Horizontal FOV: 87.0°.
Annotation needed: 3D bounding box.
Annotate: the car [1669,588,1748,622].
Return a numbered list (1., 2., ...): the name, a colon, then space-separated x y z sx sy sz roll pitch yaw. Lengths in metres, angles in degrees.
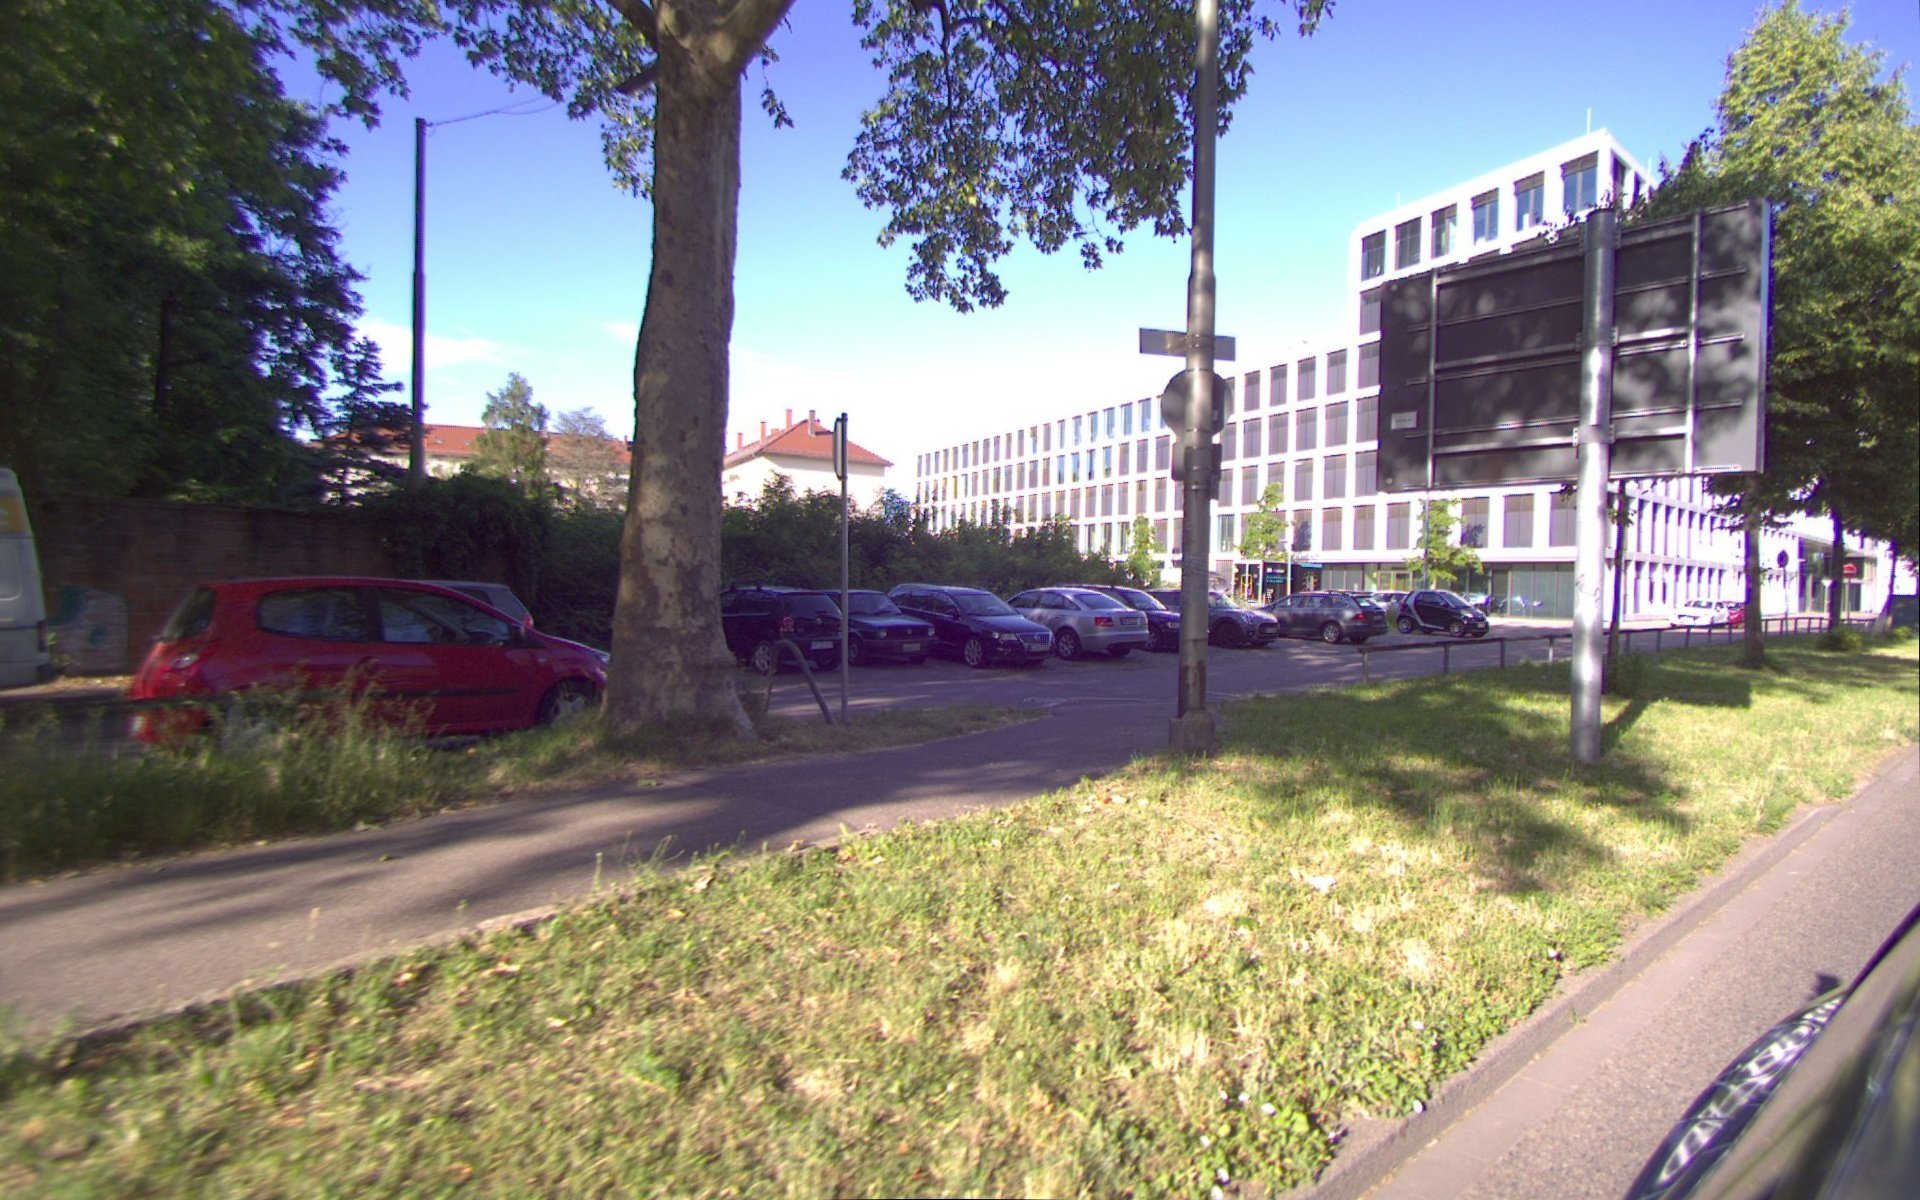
1. car: 37.386 0.218 50.521 4.322 1.504 2.000 -1 4 -38

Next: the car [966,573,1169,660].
1. car: 2.282 0.293 22.623 1.963 1.427 4.396 0 5 -38

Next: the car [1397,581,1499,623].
1. car: 20.016 0.082 41.525 3.739 1.565 1.602 2 1 -21

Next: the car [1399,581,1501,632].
1. car: 16.656 0.177 34.483 1.433 1.568 2.778 0 3 -31

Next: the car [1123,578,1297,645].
1. car: 6.526 0.239 26.729 1.752 1.517 4.197 0 2 -43

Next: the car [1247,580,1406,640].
1. car: 10.744 0.240 29.896 1.685 1.486 4.090 -1 3 -39

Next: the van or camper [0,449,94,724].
1. van or camper: -11.554 -0.179 9.685 4.882 2.764 1.996 -1 4 -44

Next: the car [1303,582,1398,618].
1. car: 17.770 -0.004 46.056 3.868 1.560 1.726 -1 0 -22

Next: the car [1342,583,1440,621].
1. car: 18.701 0.079 43.911 3.800 1.555 1.755 -1 0 -22

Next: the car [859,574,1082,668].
1. car: 0.083 0.337 20.835 1.965 1.423 4.732 0 5 -40

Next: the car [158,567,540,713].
1. car: -7.925 0.392 13.375 1.993 1.593 3.940 3 3 42

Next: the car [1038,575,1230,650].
1. car: 4.171 0.261 24.813 1.875 1.496 4.334 1 3 -44

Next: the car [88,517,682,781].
1. car: -4.596 0.292 8.547 1.990 1.660 3.943 -1 0 39

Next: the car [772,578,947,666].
1. car: -2.088 0.354 20.112 1.590 1.409 3.999 0 3 -37

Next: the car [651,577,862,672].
1. car: -3.771 0.364 18.414 3.984 1.523 1.739 1 1 42

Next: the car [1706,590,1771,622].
1. car: 41.129 0.298 53.426 4.198 1.504 1.869 -1 4 -41
